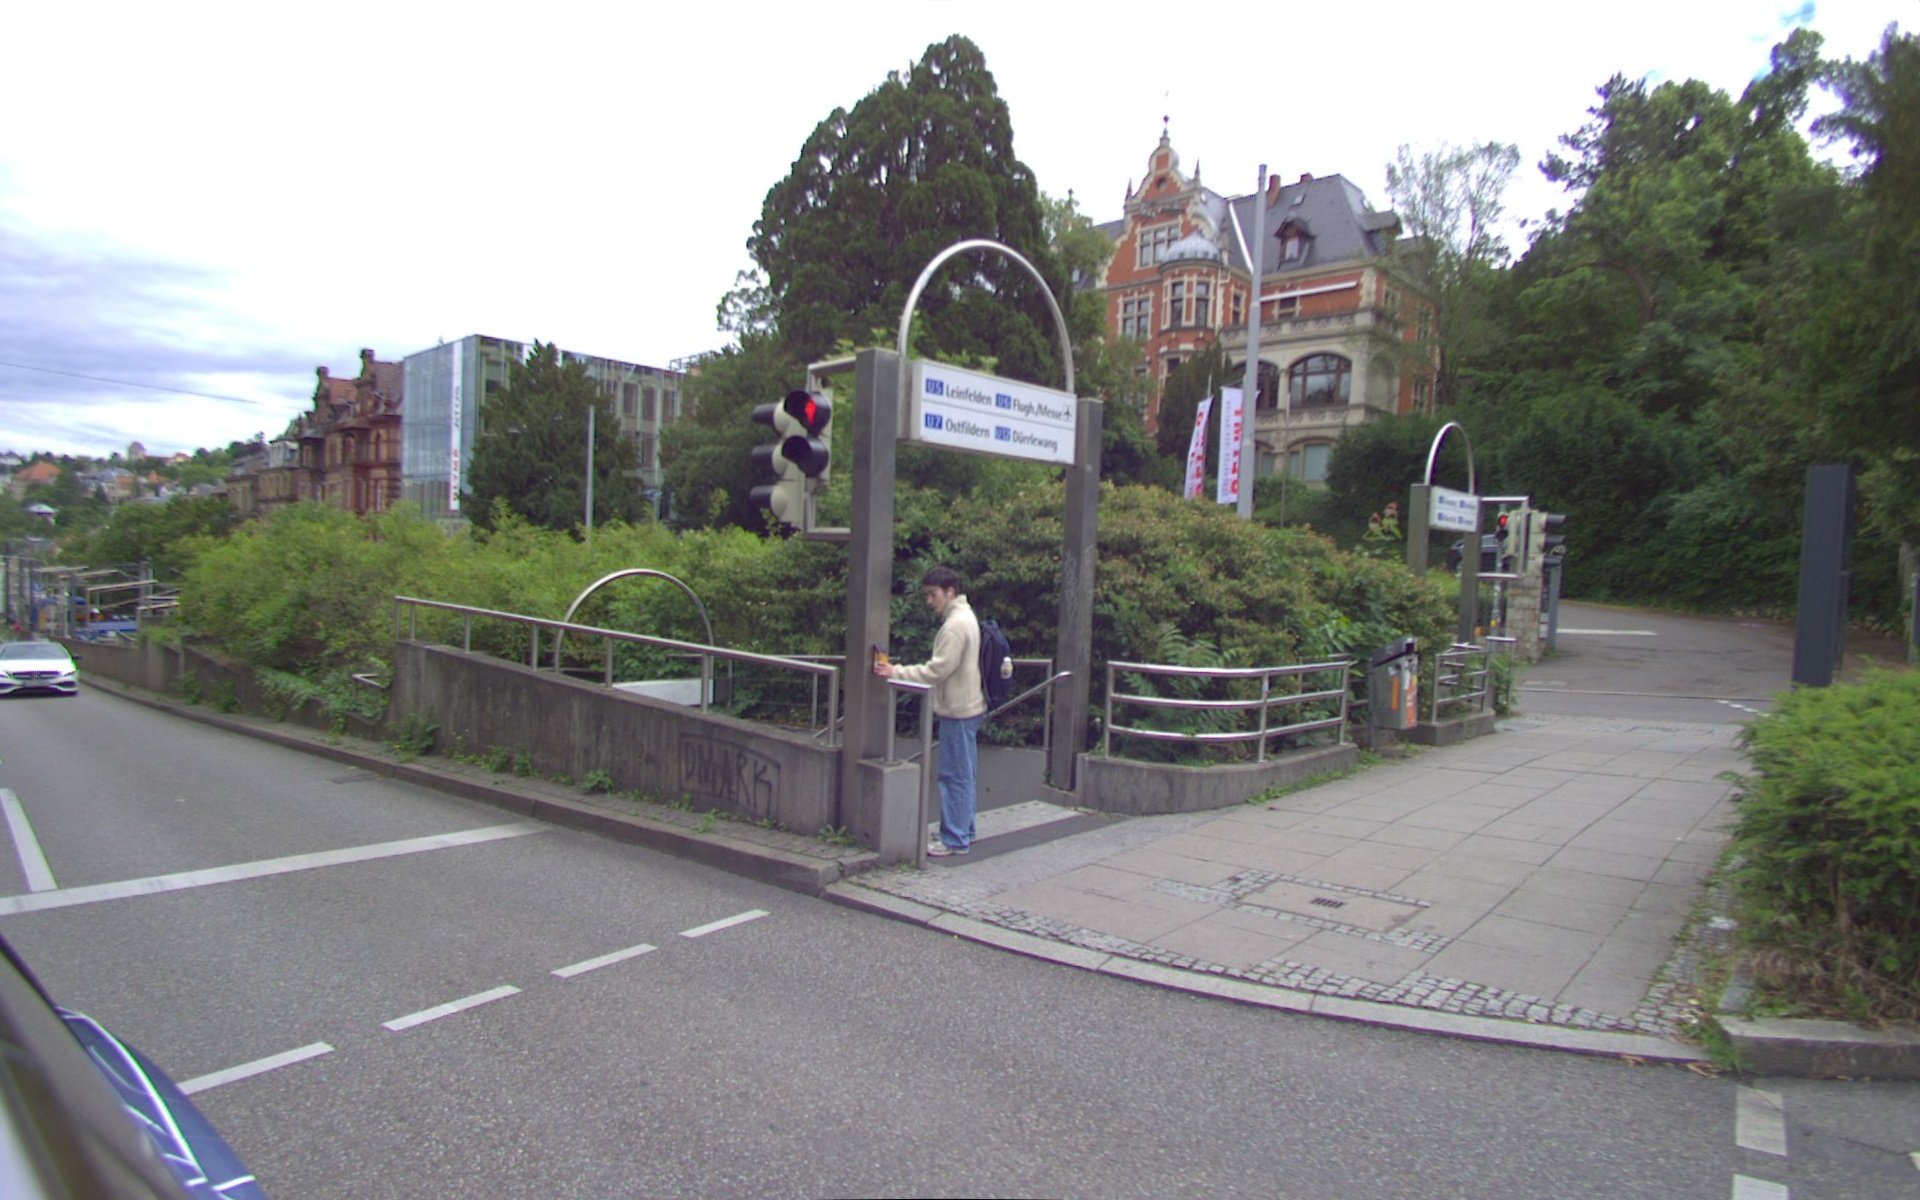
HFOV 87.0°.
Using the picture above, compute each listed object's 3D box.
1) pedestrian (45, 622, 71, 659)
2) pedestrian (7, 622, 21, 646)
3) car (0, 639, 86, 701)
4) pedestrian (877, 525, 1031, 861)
[{"bbox_3d":[-45.186,2.010,50.692,0.801,1.791,0.808,-1,-1,37],"label":"pedestrian"},{"bbox_3d":[-67.289,2.408,71.967,0.685,1.693,0.671,-1,-1,42],"label":"pedestrian"},{"bbox_3d":[-24.891,1.808,26.908,4.229,1.408,1.972,-1,1,42],"label":"car"},{"bbox_3d":[-0.041,0.528,6.124,0.696,1.875,0.615,1,-2,-39],"label":"pedestrian"}]
